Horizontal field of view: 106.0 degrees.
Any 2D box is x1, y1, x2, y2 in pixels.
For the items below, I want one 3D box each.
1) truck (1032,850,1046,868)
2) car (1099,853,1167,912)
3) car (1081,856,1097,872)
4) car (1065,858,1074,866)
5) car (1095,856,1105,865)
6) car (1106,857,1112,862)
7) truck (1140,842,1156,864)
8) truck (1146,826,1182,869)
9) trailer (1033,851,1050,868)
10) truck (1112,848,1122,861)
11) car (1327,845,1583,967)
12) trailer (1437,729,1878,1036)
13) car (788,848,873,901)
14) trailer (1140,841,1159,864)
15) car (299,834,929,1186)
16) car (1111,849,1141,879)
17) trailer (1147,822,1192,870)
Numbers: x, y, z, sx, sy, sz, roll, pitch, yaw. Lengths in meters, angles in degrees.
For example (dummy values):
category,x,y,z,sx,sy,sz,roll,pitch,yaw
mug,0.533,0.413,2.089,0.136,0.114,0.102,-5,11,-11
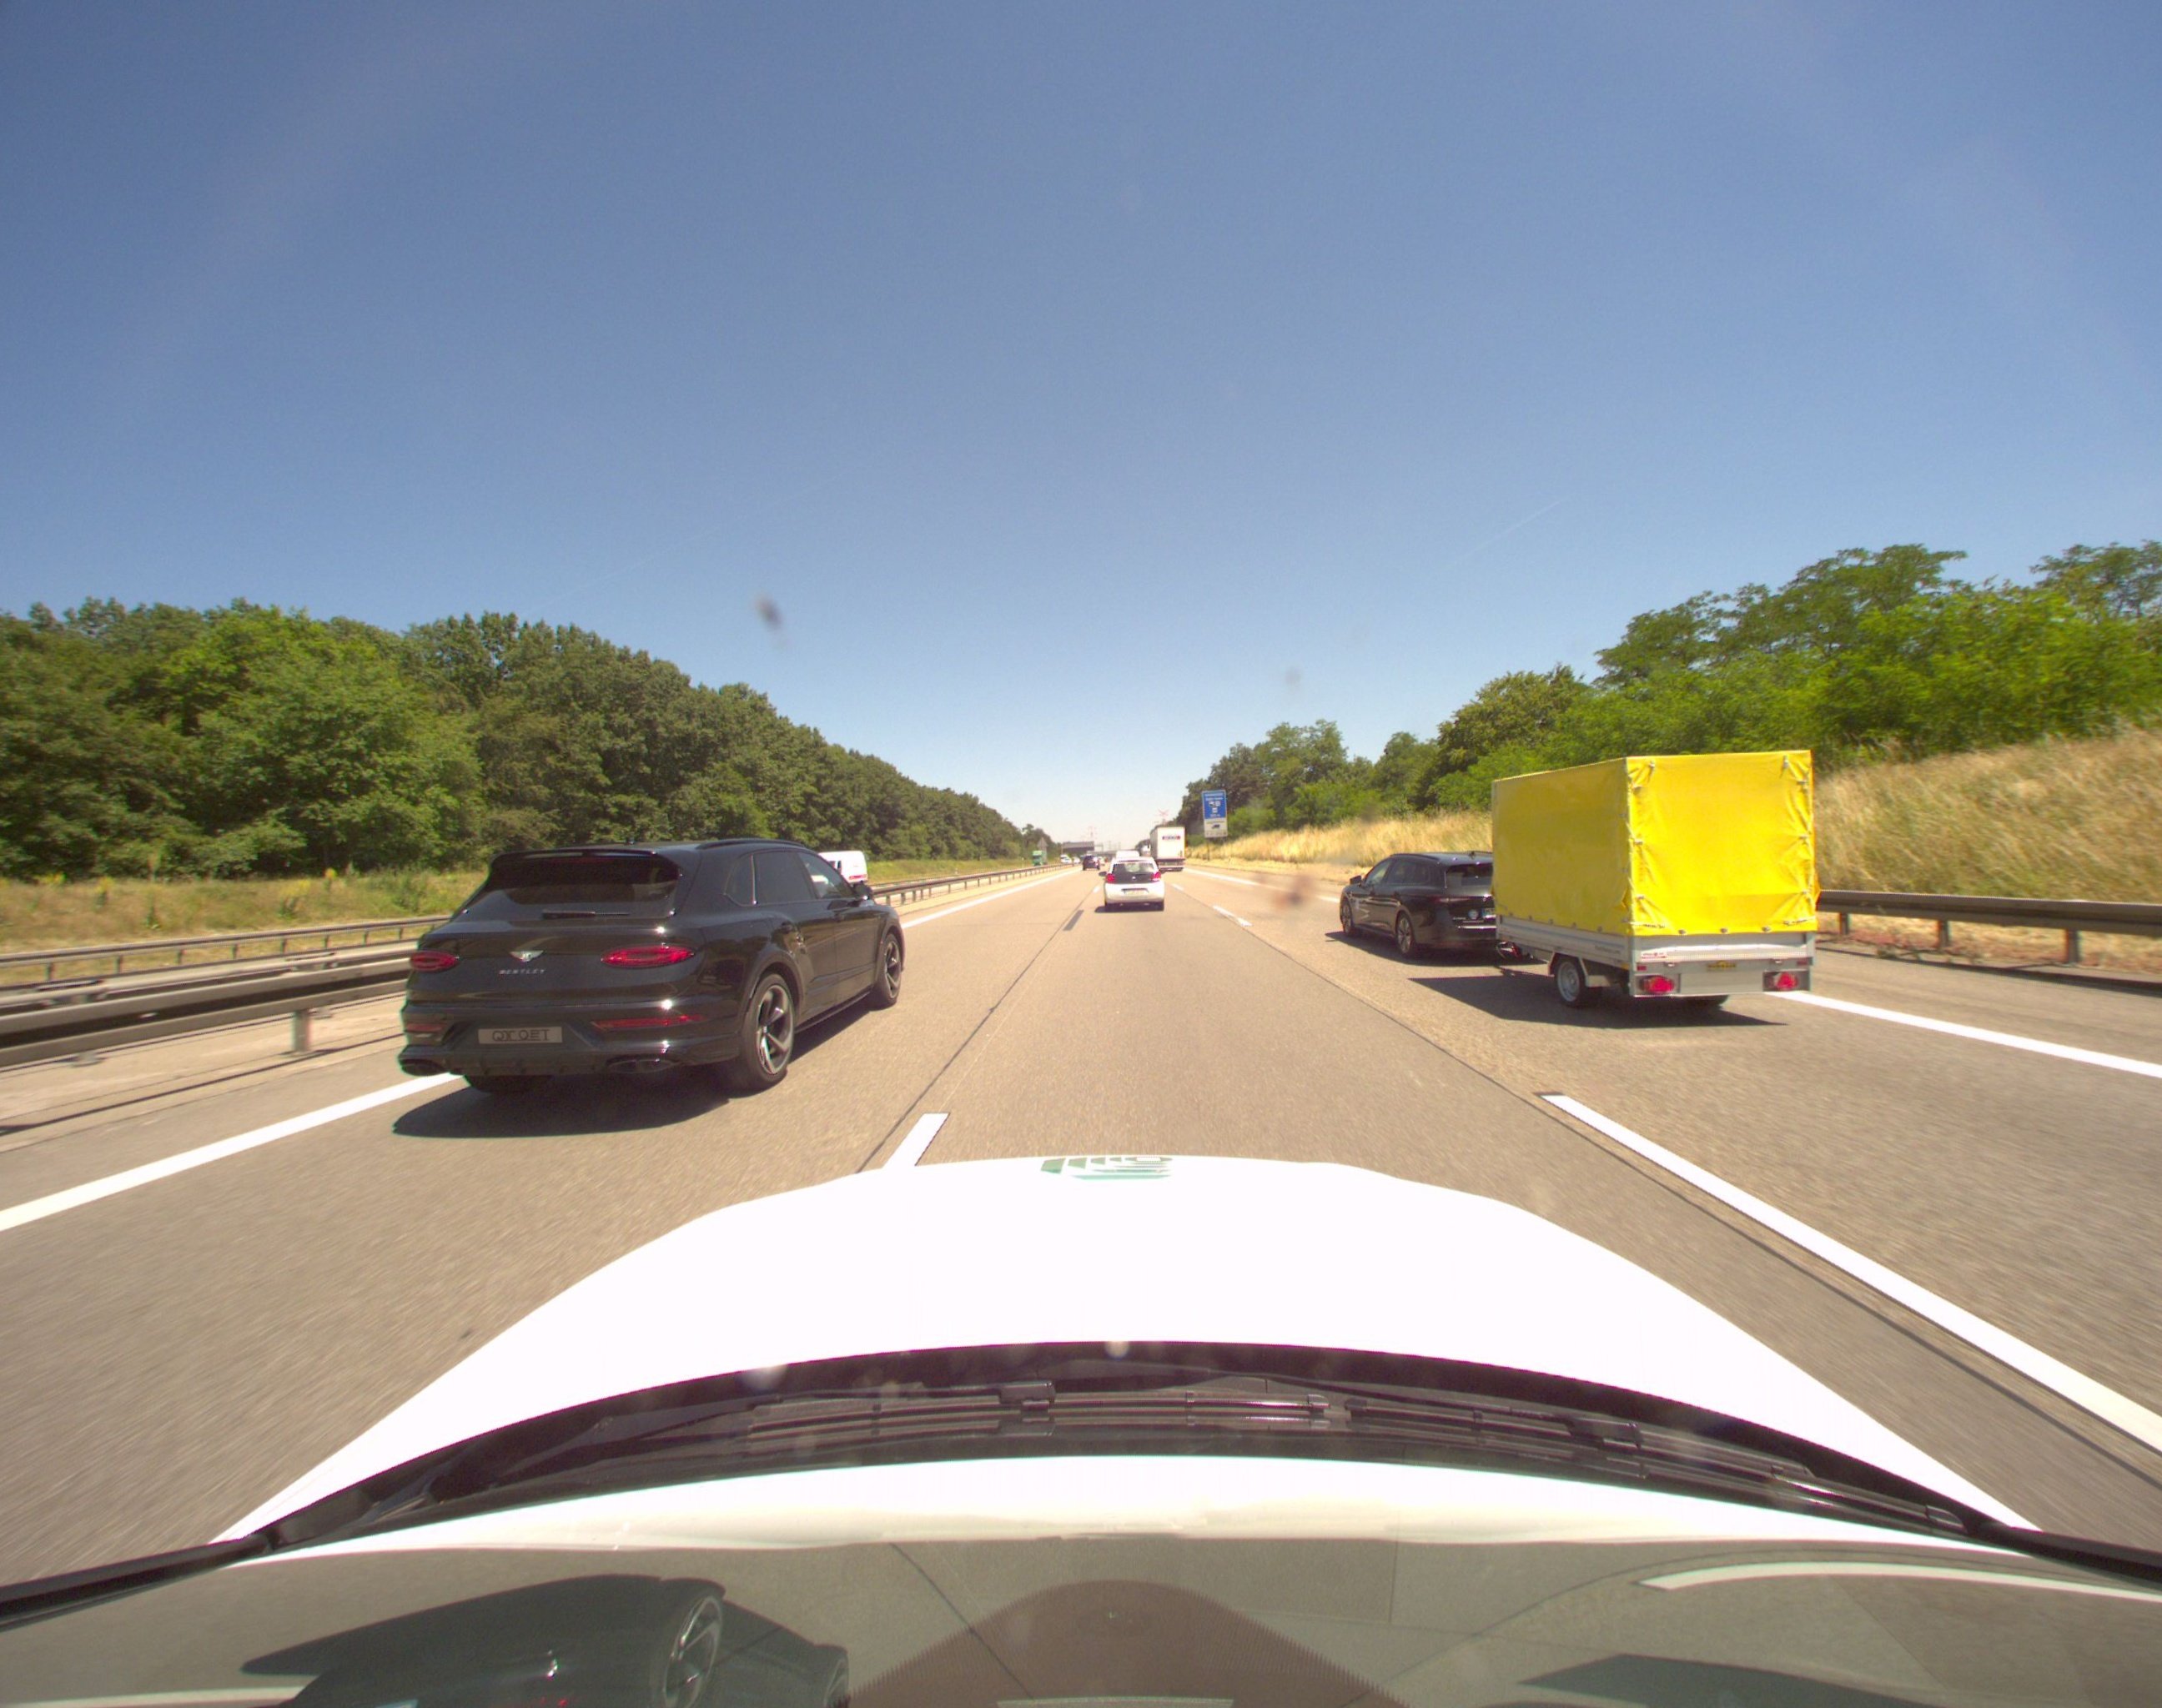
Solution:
category,x,y,z,sx,sy,sz,roll,pitch,yaw
truck,-10.743,1.221,209.064,2.690,4.160,6.300,-5,0,2
car,1.447,0.743,23.220,1.701,1.495,4.026,-2,0,3
car,0.968,1.156,93.076,1.620,1.755,3.807,-2,0,3
car,-2.856,2.095,206.010,1.946,1.792,5.566,-6,0,2
car,3.206,1.031,136.152,1.663,1.401,3.714,-3,0,1
car,7.552,1.602,222.396,1.600,1.300,3.677,-2,0,3
truck,12.147,-0.182,148.672,2.672,3.837,4.446,-2,-1,2
truck,8.606,-0.660,85.300,3.273,4.219,6.010,-2,0,2
trailer,-10.395,1.446,215.967,2.694,4.160,14.347,-5,0,3
truck,8.095,0.089,183.598,2.052,2.914,7.007,-3,0,2
car,5.361,0.650,12.498,1.814,1.456,4.790,-2,0,2
trailer,5.234,0.219,8.129,1.697,2.289,3.841,-2,0,2
car,-14.504,1.097,47.811,2.157,2.624,7.548,-5,0,3
trailer,11.905,-0.234,142.972,2.672,3.837,12.016,-2,0,2
car,-2.958,0.785,7.111,1.933,1.752,5.816,-2,0,2
car,2.991,0.650,54.766,1.807,1.827,5.113,-3,0,2
trailer,8.345,-0.658,78.740,3.273,4.219,13.572,-2,0,2
